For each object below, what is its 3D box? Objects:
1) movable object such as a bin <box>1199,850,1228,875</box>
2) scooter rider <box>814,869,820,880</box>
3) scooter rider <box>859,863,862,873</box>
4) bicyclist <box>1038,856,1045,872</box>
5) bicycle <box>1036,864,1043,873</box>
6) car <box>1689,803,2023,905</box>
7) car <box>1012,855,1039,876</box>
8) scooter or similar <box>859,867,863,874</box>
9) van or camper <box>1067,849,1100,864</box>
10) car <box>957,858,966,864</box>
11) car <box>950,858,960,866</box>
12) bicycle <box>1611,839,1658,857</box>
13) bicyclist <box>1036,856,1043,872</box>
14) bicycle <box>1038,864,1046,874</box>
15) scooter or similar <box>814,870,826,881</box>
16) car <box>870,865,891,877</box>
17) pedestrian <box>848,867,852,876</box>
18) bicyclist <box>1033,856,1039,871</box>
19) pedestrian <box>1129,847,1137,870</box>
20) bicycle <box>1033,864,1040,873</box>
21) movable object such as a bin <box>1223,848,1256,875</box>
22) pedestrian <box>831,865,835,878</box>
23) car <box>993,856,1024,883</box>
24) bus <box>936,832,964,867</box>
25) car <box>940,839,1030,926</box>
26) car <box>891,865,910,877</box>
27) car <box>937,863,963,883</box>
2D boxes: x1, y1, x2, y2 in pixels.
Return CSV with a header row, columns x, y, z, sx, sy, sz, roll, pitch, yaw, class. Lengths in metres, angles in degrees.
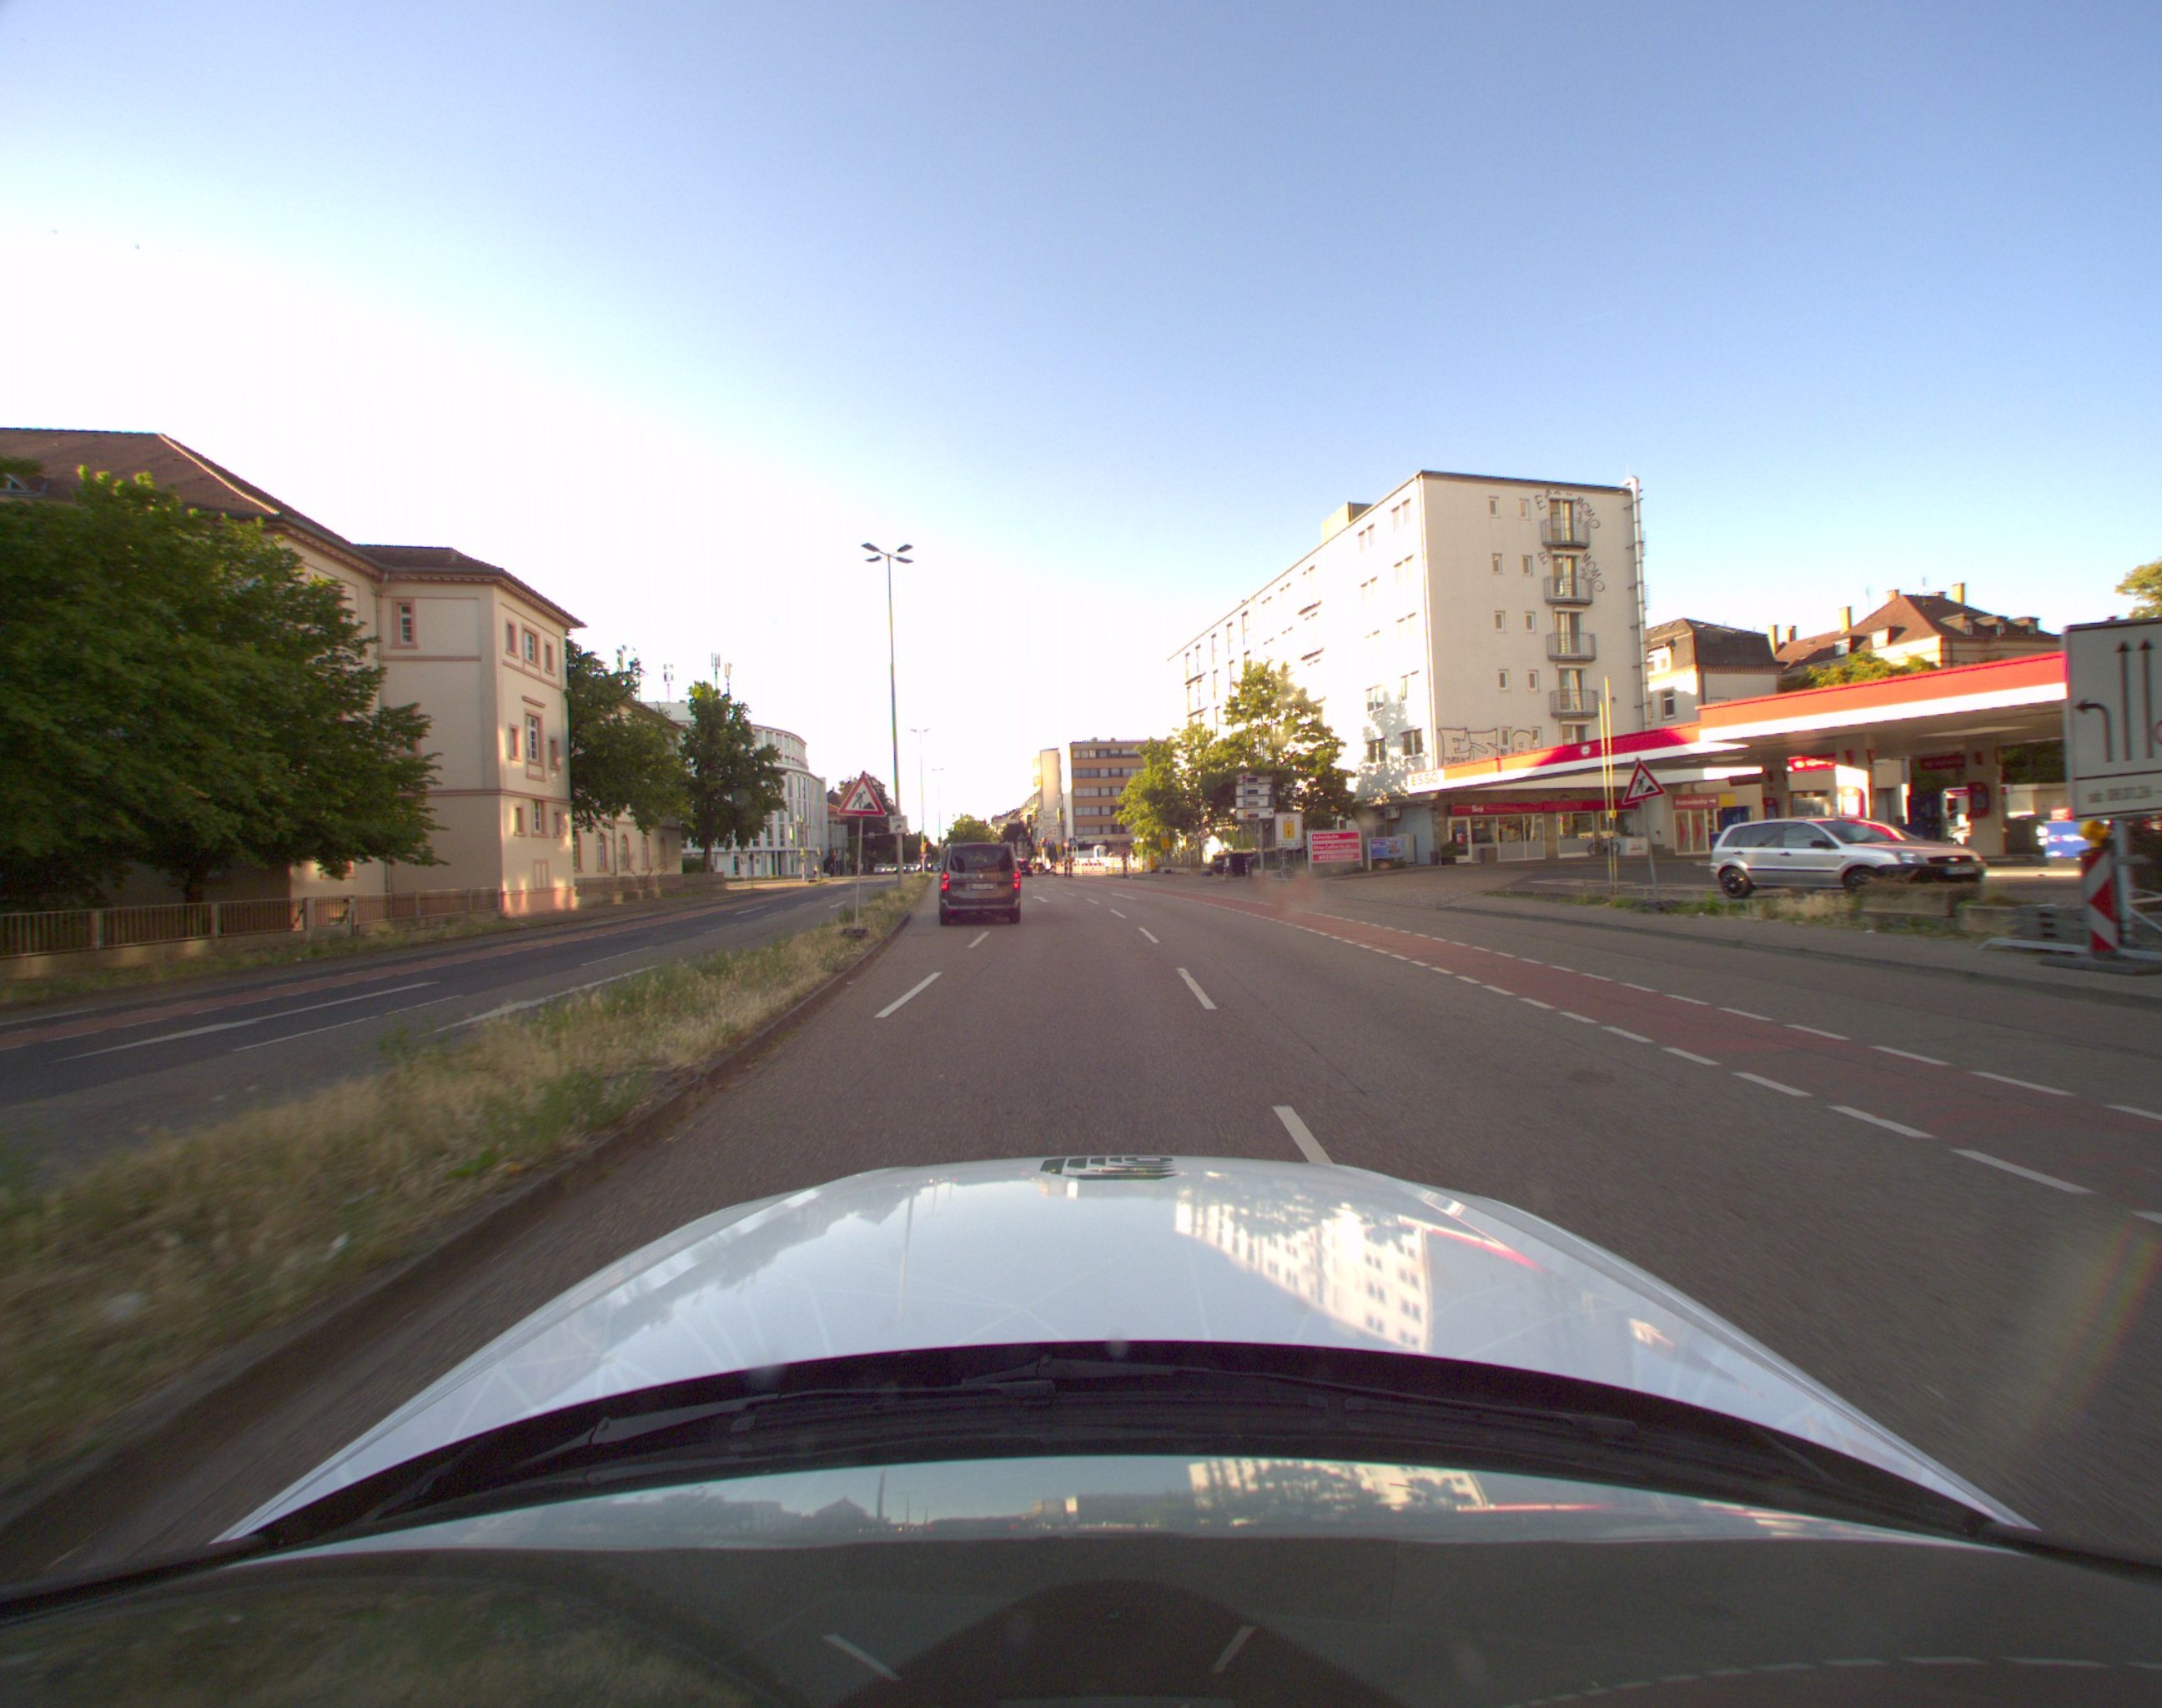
x,y,z,sx,sy,sz,roll,pitch,yaw,class
8.005,0.492,49.202,1.458,1.386,1.546,-3,0,-1,movable object such as a bin
-25.245,1.975,77.977,0.511,1.036,0.443,-1,-1,-20,scooter rider
-30.673,1.971,113.408,0.355,1.373,0.336,-3,0,-9,scooter rider
-3.612,0.883,74.484,0.540,1.459,0.639,-3,0,-8,bicyclist
-3.896,1.369,76.658,0.533,0.847,1.678,-3,0,-8,bicycle
13.810,-0.001,14.963,1.769,1.530,4.345,-2,0,-5,car
-4.738,0.955,69.004,1.992,1.656,4.288,-3,0,-8,car
-30.660,2.263,113.406,0.357,0.896,0.902,-3,0,-8,scooter or similar
0.300,0.357,116.457,4.553,2.013,1.998,-3,0,-2,van or camper
-32.359,1.930,220.217,1.851,1.708,3.708,-3,0,-14,car
-27.118,1.673,174.893,1.851,1.708,3.708,-3,0,-14,car
27.135,-0.301,39.915,0.624,0.829,1.798,-3,1,-29,bicycle
-3.916,0.906,76.653,0.540,1.459,0.639,-3,0,-8,bicyclist
-3.583,1.350,74.466,0.533,0.847,1.678,-3,0,-8,bicycle
-25.025,2.080,78.045,1.102,0.976,0.555,-1,-1,-19,scooter or similar
-28.969,2.416,117.832,1.988,1.595,3.997,-2,0,-2,car
-32.515,2.511,114.668,0.354,1.290,0.378,-3,0,-8,pedestrian
-4.378,0.936,79.049,0.540,1.459,0.639,-3,0,-8,bicyclist
4.592,0.359,72.435,0.491,2.013,0.662,-3,0,-10,pedestrian
-4.354,1.396,79.074,0.533,0.847,1.678,-3,0,-8,bicycle
8.915,0.417,45.861,1.458,1.454,1.546,-3,0,-1,movable object such as a bin
-32.211,2.215,105.784,0.377,1.659,0.565,-3,0,-18,pedestrian
-4.539,0.957,51.316,1.842,1.544,3.626,-2,0,-4,car
-18.419,-0.574,114.167,3.292,4.617,9.958,-1,0,-12,bus
-2.474,0.620,20.283,1.993,1.900,4.285,0,0,-10,car
-26.253,2.442,118.549,1.988,1.595,3.997,-2,0,-2,car
-11.680,1.658,72.388,1.995,1.656,4.282,-3,0,-11,car
